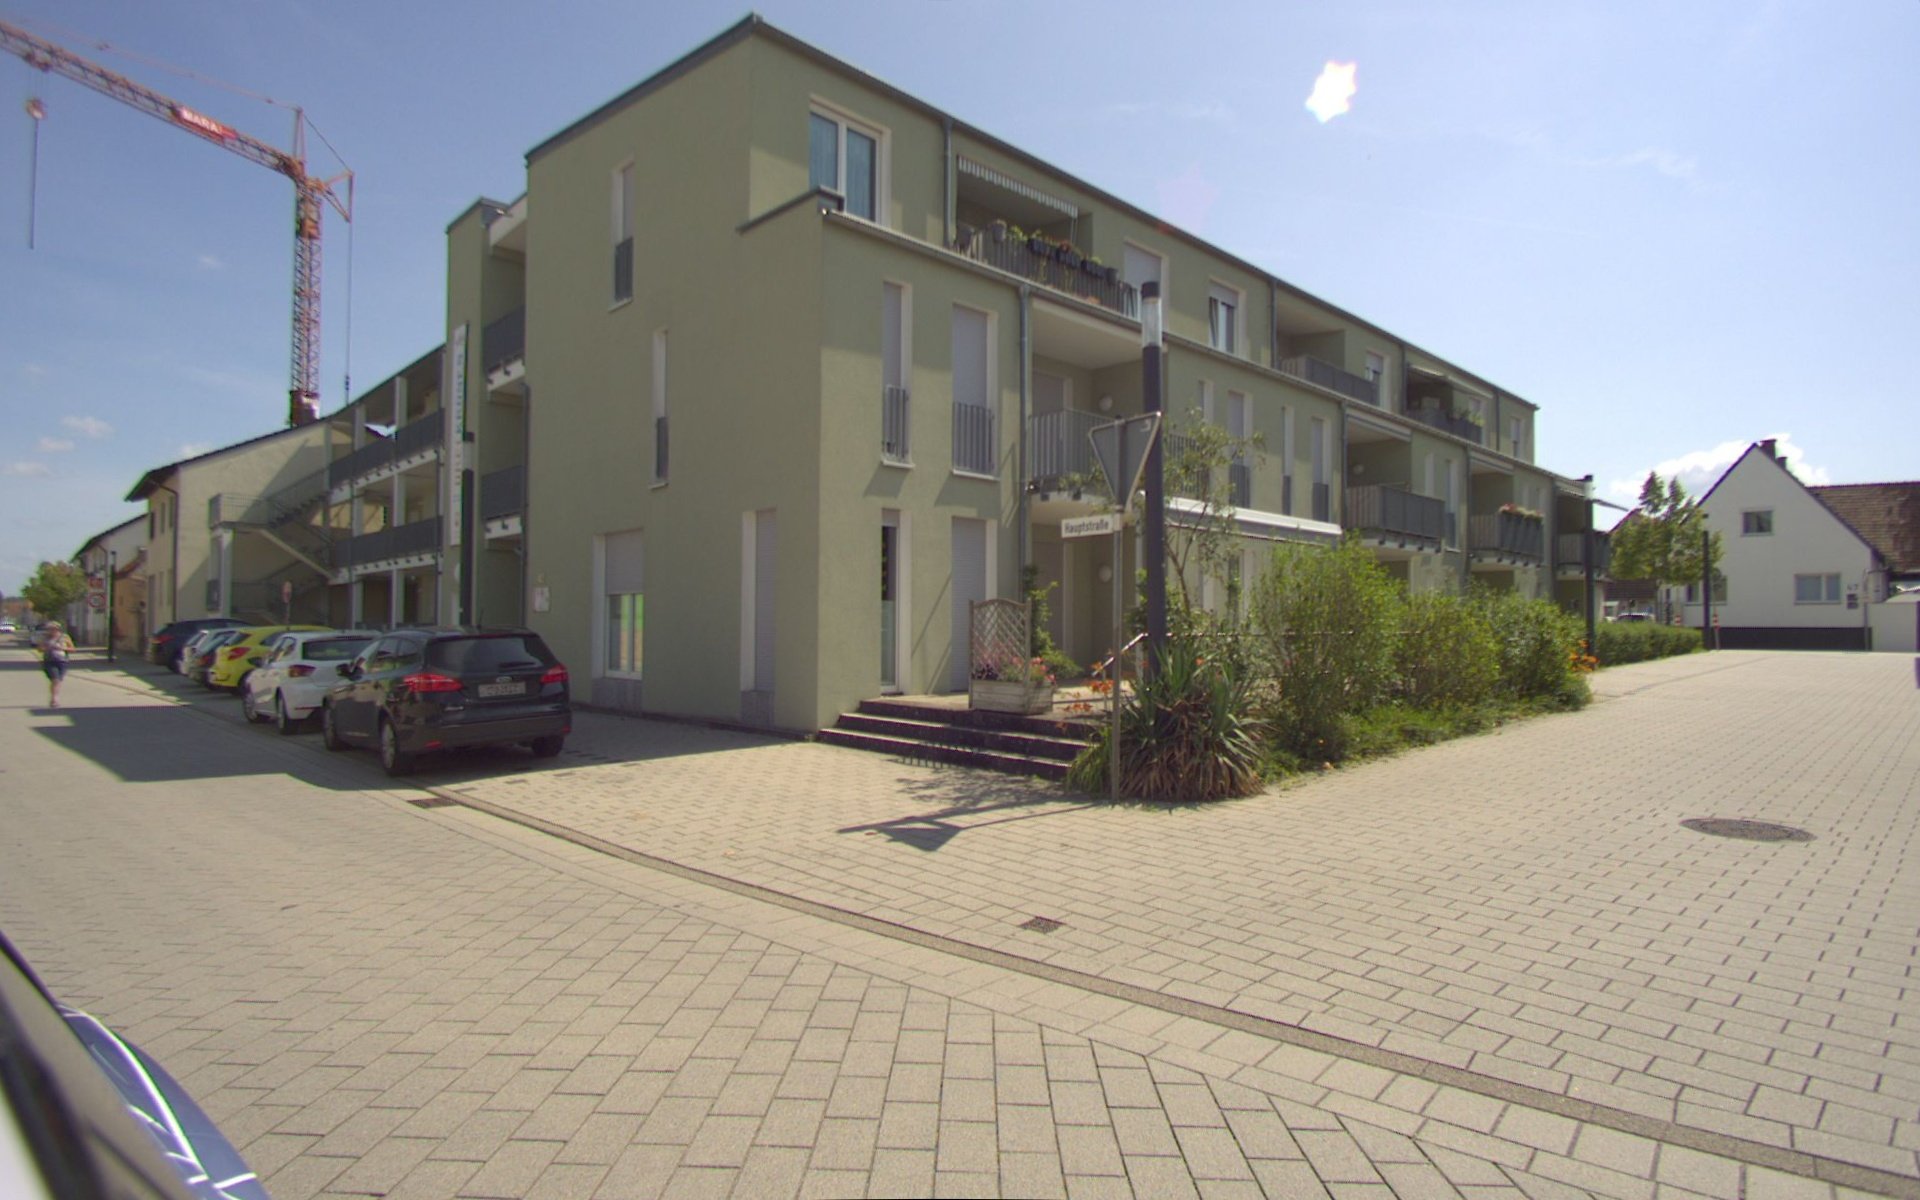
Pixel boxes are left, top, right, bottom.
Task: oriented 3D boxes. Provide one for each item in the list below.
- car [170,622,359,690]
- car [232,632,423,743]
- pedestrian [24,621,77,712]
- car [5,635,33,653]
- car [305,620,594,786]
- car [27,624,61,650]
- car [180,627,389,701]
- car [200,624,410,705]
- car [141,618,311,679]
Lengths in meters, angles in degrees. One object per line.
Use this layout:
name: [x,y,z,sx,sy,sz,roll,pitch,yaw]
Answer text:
car: [-18.192,1.417,26.559,3.854,1.514,1.753,-2,0,-43]
car: [-9.794,1.233,15.548,1.737,1.421,3.881,-1,-1,-44]
pedestrian: [-17.303,1.242,19.266,0.737,1.652,0.733,0,-1,-42]
car: [-86.013,3.988,92.499,1.727,1.578,3.957,2,-3,-45]
car: [-5.970,1.017,11.573,1.792,1.502,4.281,0,-1,-44]
car: [-58.875,2.382,65.080,1.553,1.573,2.826,-1,0,-41]
car: [-16.267,1.472,24.487,3.941,1.452,1.692,-2,0,-44]
car: [-14.685,1.382,22.828,1.672,1.537,3.653,-2,0,41]
car: [-23.257,1.483,32.167,4.169,1.671,1.786,-1,0,-43]
